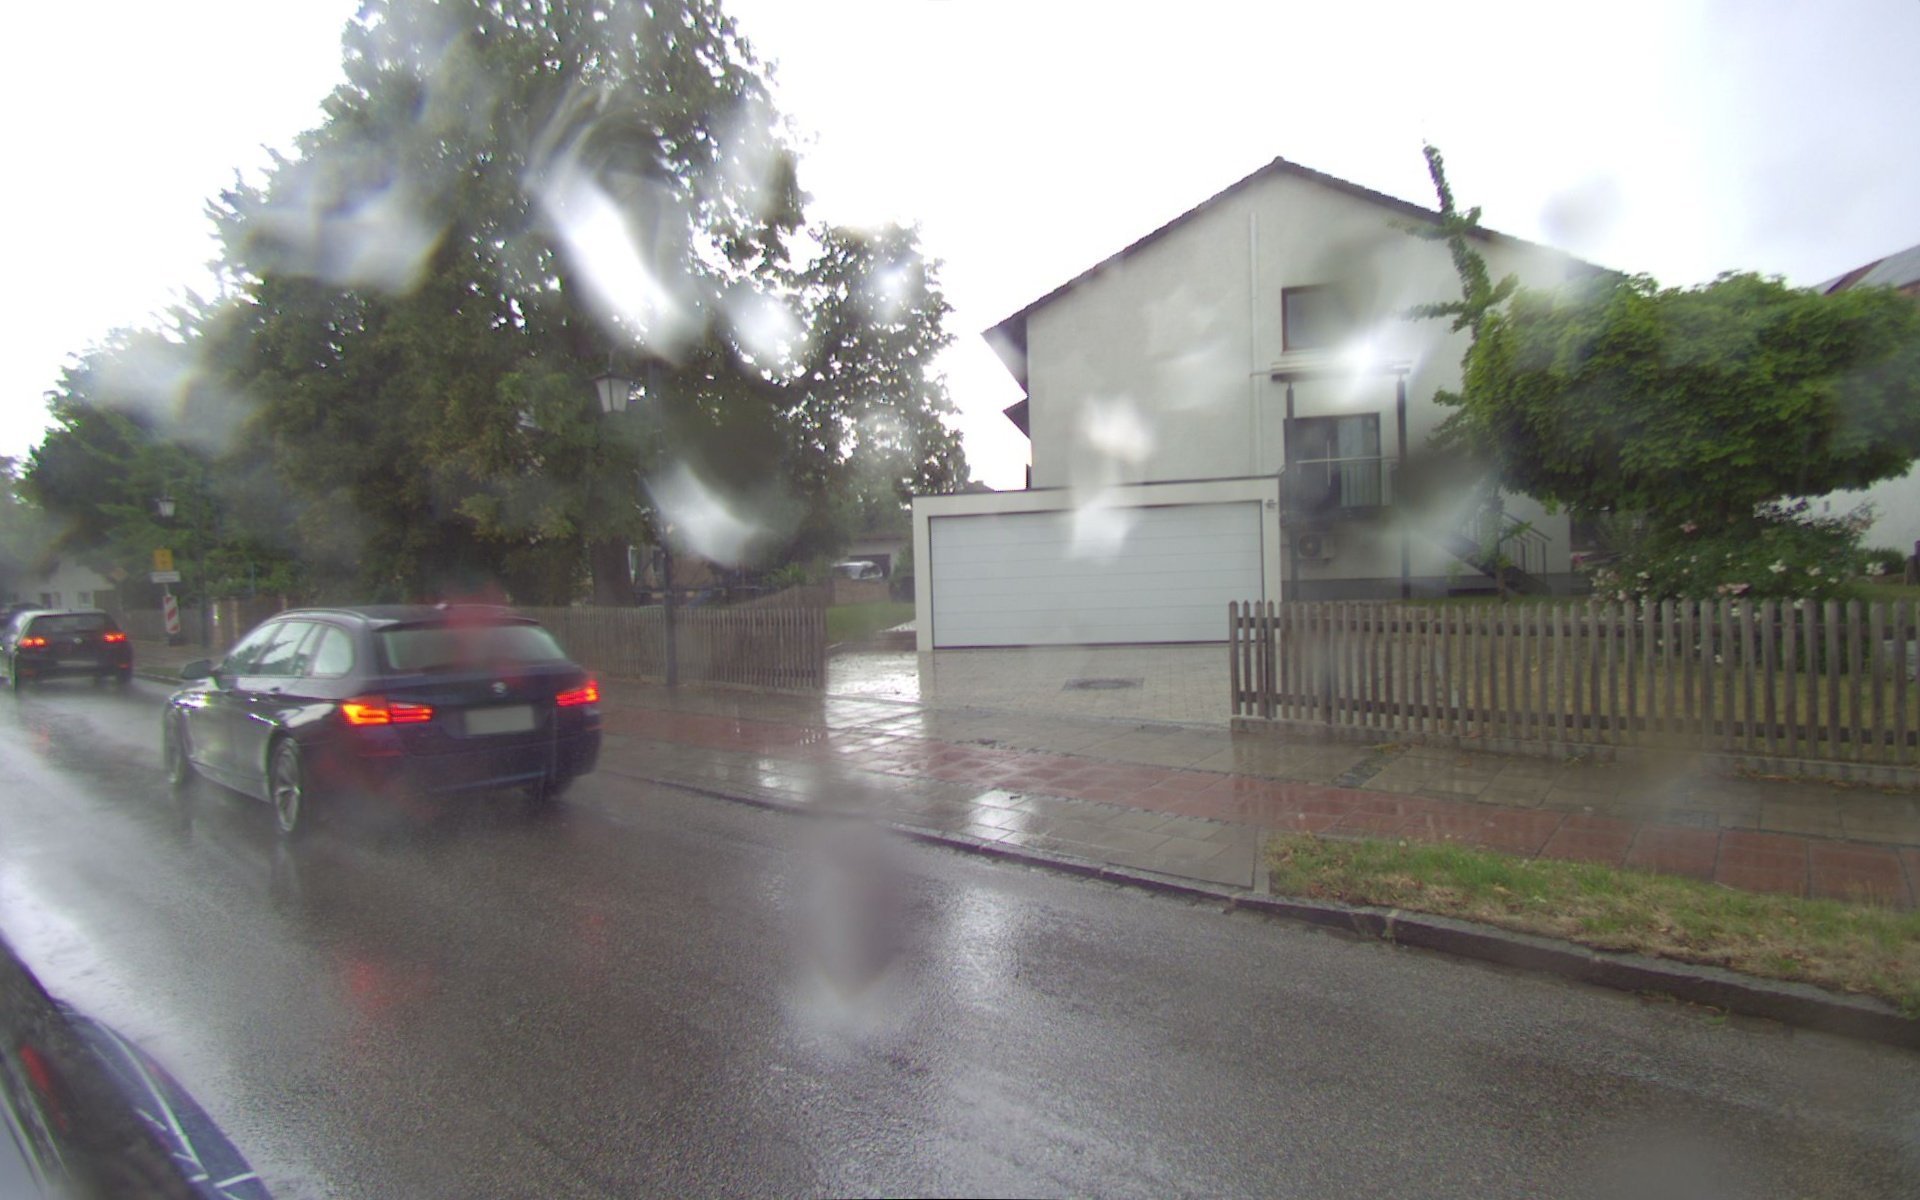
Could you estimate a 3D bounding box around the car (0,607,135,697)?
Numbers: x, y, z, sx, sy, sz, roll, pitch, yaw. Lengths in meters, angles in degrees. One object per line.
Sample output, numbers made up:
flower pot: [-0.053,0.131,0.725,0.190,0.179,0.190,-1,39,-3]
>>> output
car: [-17.312,0.925,19.375,3.998,1.476,1.691,-1,1,41]

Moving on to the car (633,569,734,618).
car: [-11.768,-0.291,43.184,3.613,1.815,1.839,-3,2,7]

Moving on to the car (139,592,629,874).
car: [-4.484,0.739,7.568,4.371,1.476,1.762,-1,1,40]

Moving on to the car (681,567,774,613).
car: [-10.557,-0.454,46.038,3.613,1.815,1.839,-3,2,7]

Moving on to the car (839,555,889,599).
car: [-5.358,-1.254,56.843,1.767,2.311,3.838,-1,0,11]
